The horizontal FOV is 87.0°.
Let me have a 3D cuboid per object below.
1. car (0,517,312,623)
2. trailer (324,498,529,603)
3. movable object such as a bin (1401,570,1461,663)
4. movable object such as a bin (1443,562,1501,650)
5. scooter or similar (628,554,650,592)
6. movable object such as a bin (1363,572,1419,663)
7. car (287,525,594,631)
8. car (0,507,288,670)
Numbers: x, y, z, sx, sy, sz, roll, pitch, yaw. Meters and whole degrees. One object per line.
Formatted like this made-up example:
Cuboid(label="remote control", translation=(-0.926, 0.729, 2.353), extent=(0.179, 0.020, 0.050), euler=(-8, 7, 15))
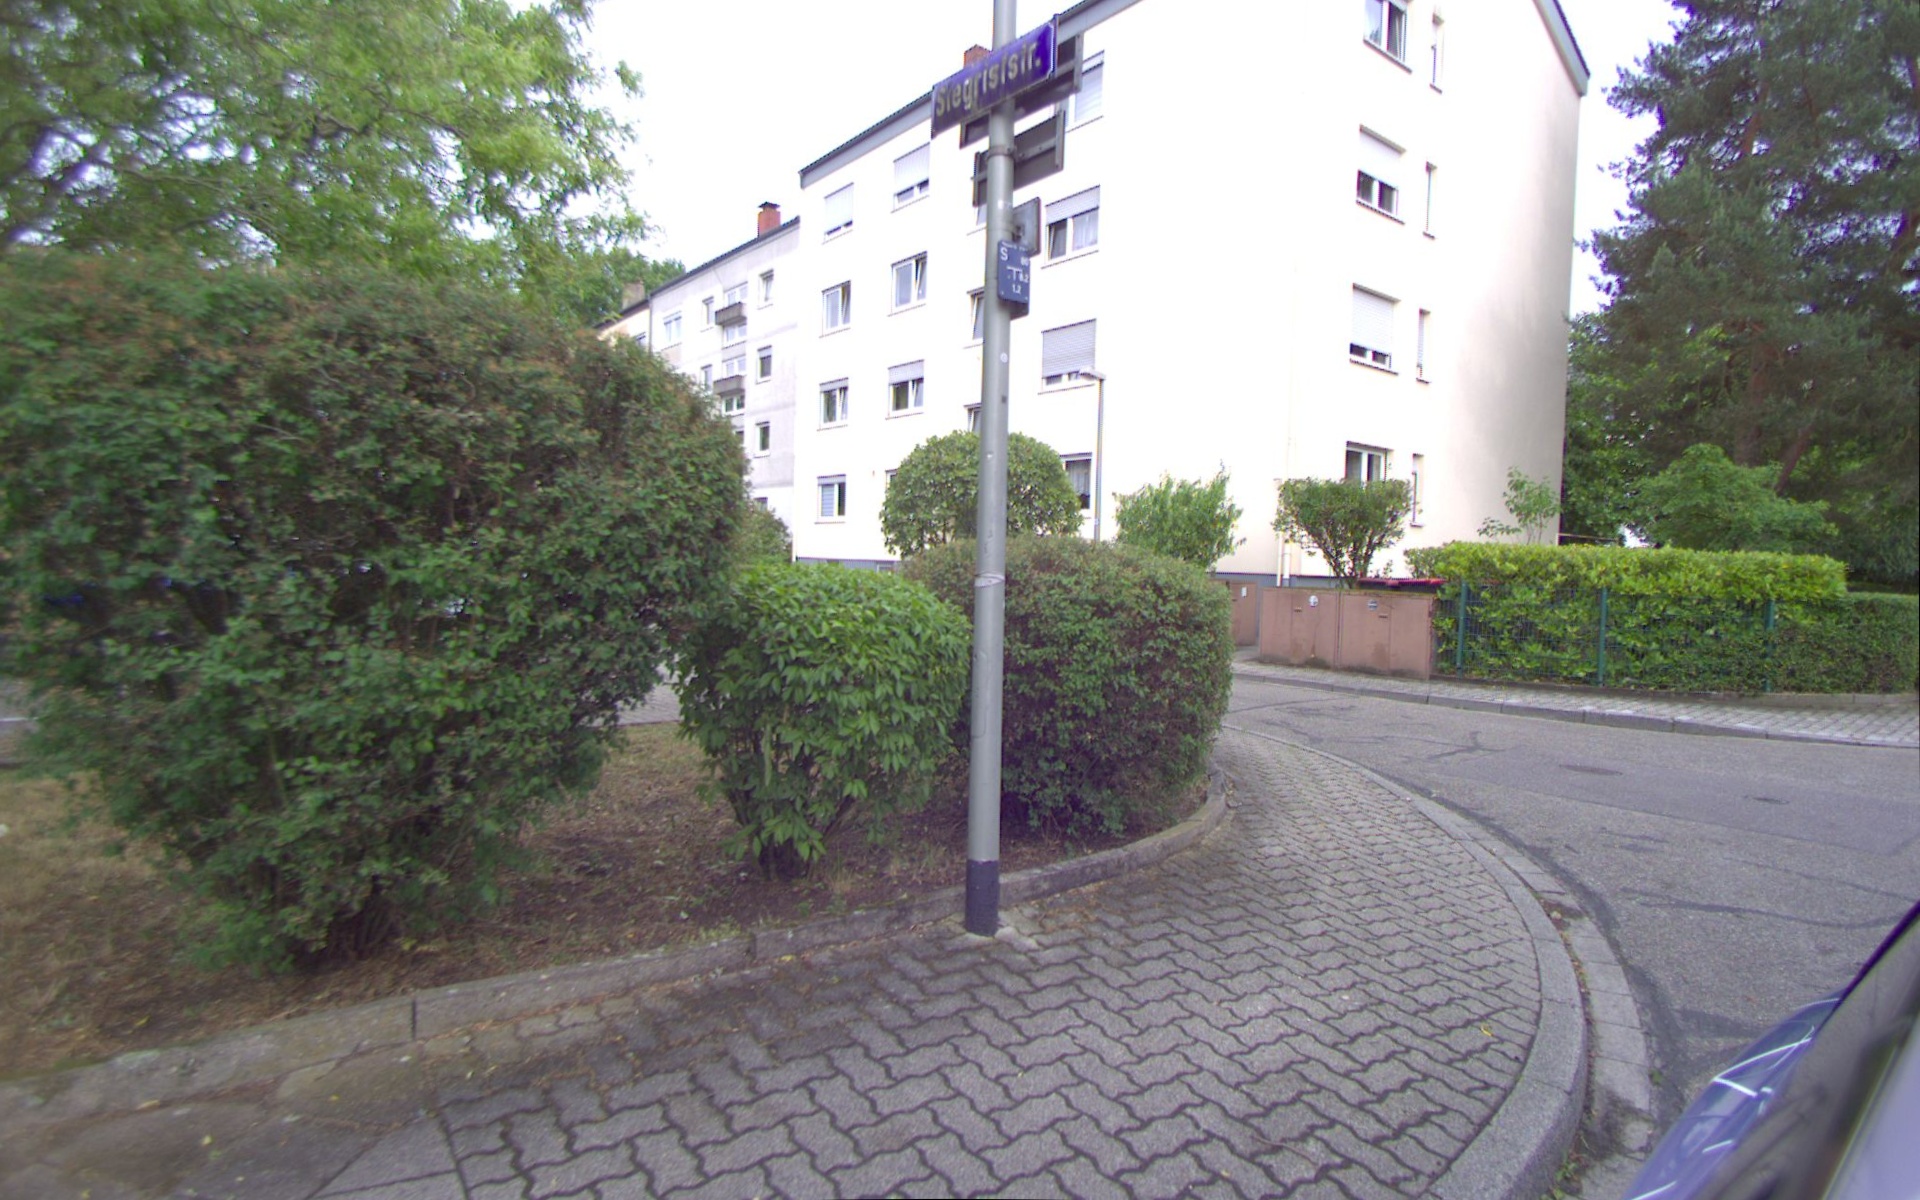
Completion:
Cuboid(label="car", translation=(-13.401, -0.525, 17.042), extent=(3.931, 1.570, 1.997), euler=(-1, 4, -42))
Cuboid(label="trailer", translation=(-14.043, -1.276, 26.759), extent=(4.540, 2.556, 1.942), euler=(-1, 3, -38))
Cuboid(label="movable object such as a bin", translation=(6.279, 0.215, 13.498), extent=(0.498, 1.202, 0.515), euler=(2, 1, -40))
Cuboid(label="movable object such as a bin", translation=(7.062, 0.081, 13.965), extent=(0.498, 1.179, 0.515), euler=(2, 1, -40))
Cuboid(label="scooter or similar", translation=(-10.443, -0.880, 32.926), extent=(0.268, 1.226, 1.163), euler=(0, 2, -39))
Cuboid(label="movable object such as a bin", translation=(5.930, 0.226, 13.926), extent=(0.498, 1.202, 0.515), euler=(0, 2, -40))
Cuboid(label="car", translation=(-8.907, -0.374, 17.501), extent=(4.467, 1.608, 1.988), euler=(0, 2, -37))
Cuboid(label="car", translation=(-9.355, -0.146, 10.485), extent=(3.839, 1.529, 2.026), euler=(0, 2, -39))
